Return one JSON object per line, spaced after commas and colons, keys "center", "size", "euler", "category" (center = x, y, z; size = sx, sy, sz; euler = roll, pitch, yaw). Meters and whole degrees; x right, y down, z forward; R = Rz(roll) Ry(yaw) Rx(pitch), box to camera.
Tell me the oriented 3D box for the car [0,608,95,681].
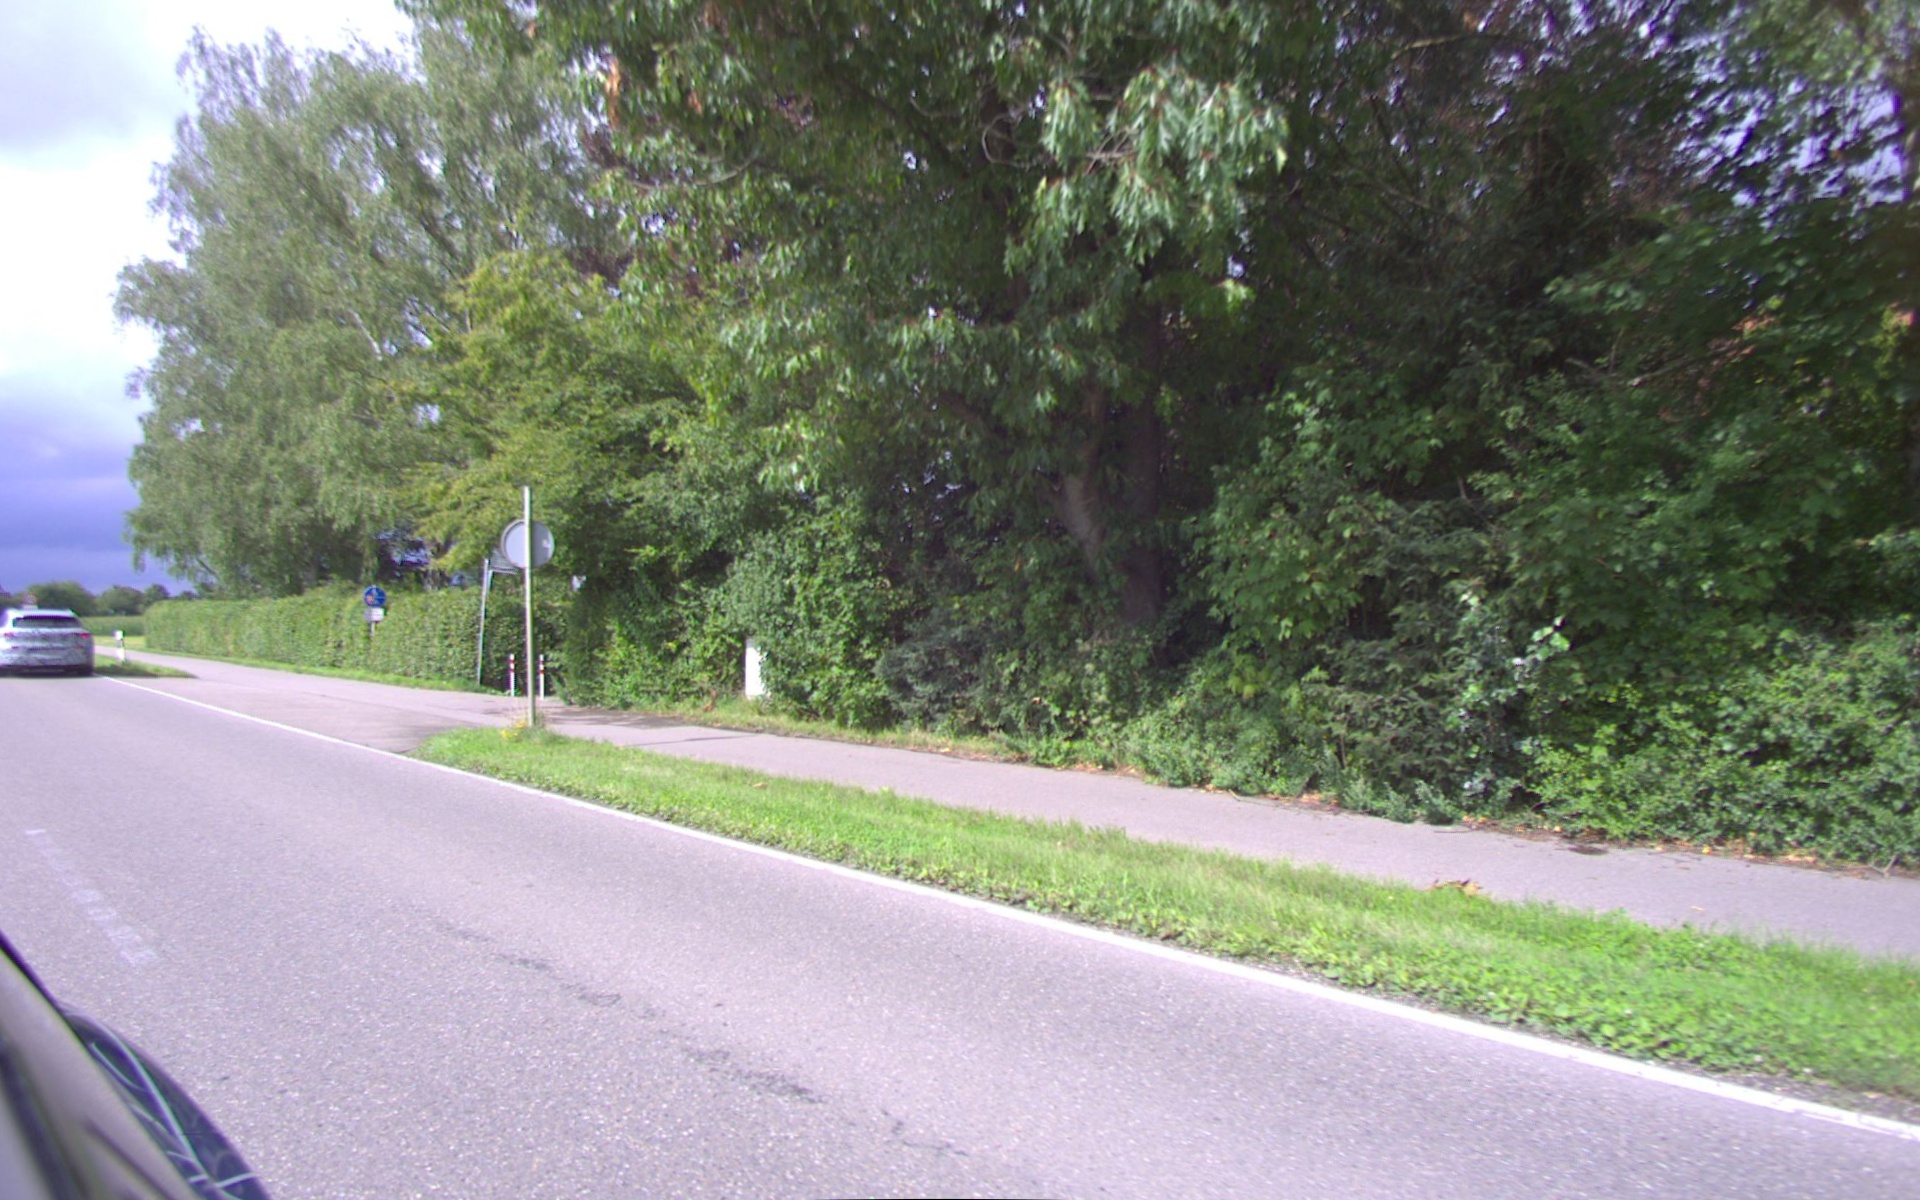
{"center": [-22.955, 1.069, 25.102], "size": [4.292, 1.663, 1.791], "euler": [-1, -3, 43], "category": "car"}
